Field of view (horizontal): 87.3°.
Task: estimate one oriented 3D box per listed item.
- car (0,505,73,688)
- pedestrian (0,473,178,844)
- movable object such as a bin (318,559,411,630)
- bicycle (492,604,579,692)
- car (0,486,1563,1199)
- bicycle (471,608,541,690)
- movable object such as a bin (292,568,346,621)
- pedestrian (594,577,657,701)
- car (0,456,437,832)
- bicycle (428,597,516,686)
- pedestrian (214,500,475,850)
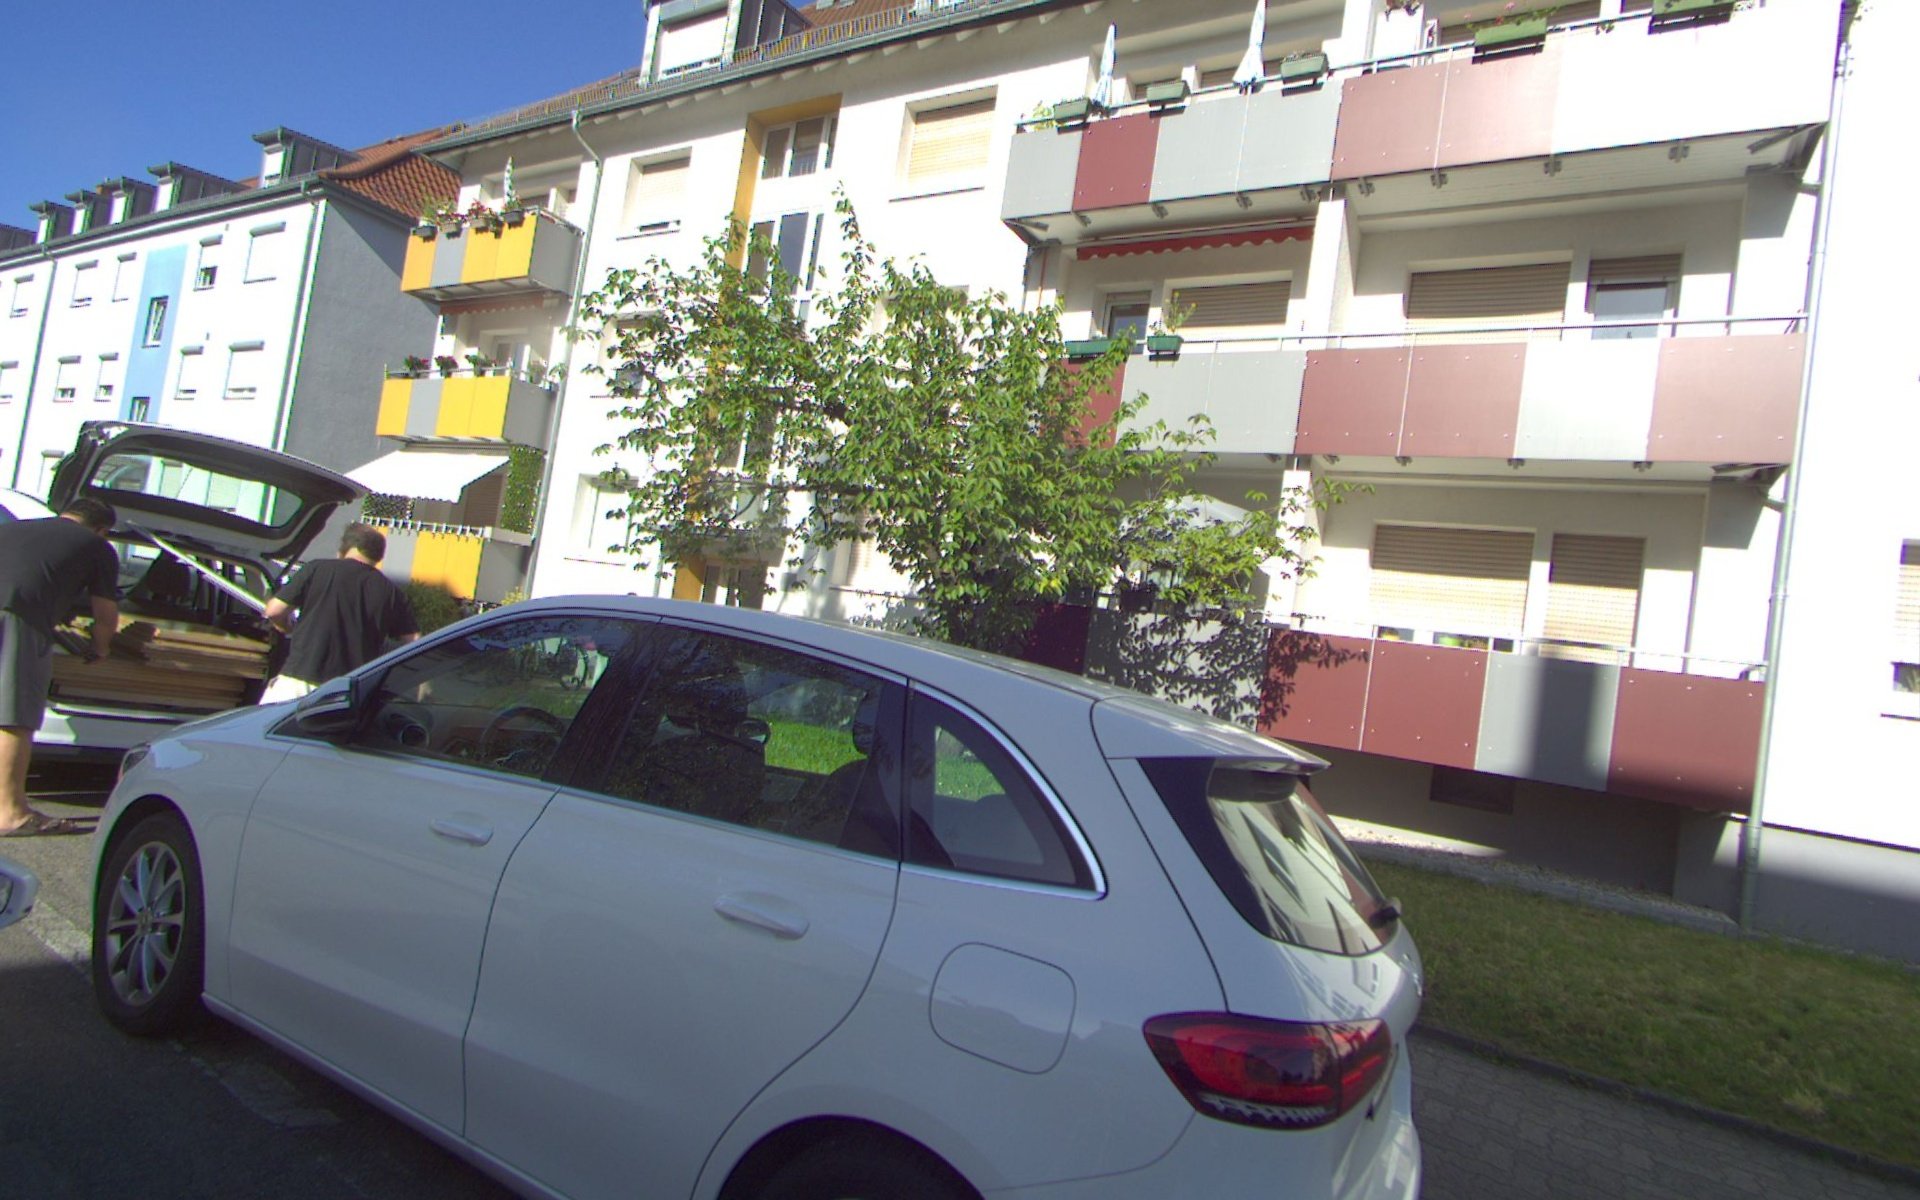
[{"bbox_3d":[-10.044,-0.321,9.125,3.917,1.505,1.701,7,-6,31],"label":"car"},{"bbox_3d":[-4.395,0.238,4.692,0.865,1.593,0.741,7,-2,31],"label":"pedestrian"},{"bbox_3d":[-13.600,-0.116,22.998,1.088,1.422,1.331,4,-4,32],"label":"movable object such as a bin"},{"bbox_3d":[-6.403,0.710,15.161,1.252,1.145,0.404,7,-3,33],"label":"bicycle"},{"bbox_3d":[-0.849,0.719,3.064,4.405,1.520,1.779,7,-5,30],"label":"car"},{"bbox_3d":[-6.311,0.695,14.009,0.235,1.058,0.742,7,-2,34],"label":"bicycle"},{"bbox_3d":[-14.170,-0.117,22.231,0.745,1.046,0.644,4,-3,32],"label":"movable object such as a bin"},{"bbox_3d":[-4.241,0.498,12.761,0.354,1.511,0.451,5,-3,32],"label":"pedestrian"},{"bbox_3d":[-5.789,0.116,6.466,4.915,1.628,2.000,7,-6,34],"label":"car"},{"bbox_3d":[-7.047,0.591,14.506,1.278,1.099,0.404,7,-2,33],"label":"bicycle"},{"bbox_3d":[-3.313,0.398,5.461,0.594,1.706,0.821,7,-2,31],"label":"pedestrian"}]
